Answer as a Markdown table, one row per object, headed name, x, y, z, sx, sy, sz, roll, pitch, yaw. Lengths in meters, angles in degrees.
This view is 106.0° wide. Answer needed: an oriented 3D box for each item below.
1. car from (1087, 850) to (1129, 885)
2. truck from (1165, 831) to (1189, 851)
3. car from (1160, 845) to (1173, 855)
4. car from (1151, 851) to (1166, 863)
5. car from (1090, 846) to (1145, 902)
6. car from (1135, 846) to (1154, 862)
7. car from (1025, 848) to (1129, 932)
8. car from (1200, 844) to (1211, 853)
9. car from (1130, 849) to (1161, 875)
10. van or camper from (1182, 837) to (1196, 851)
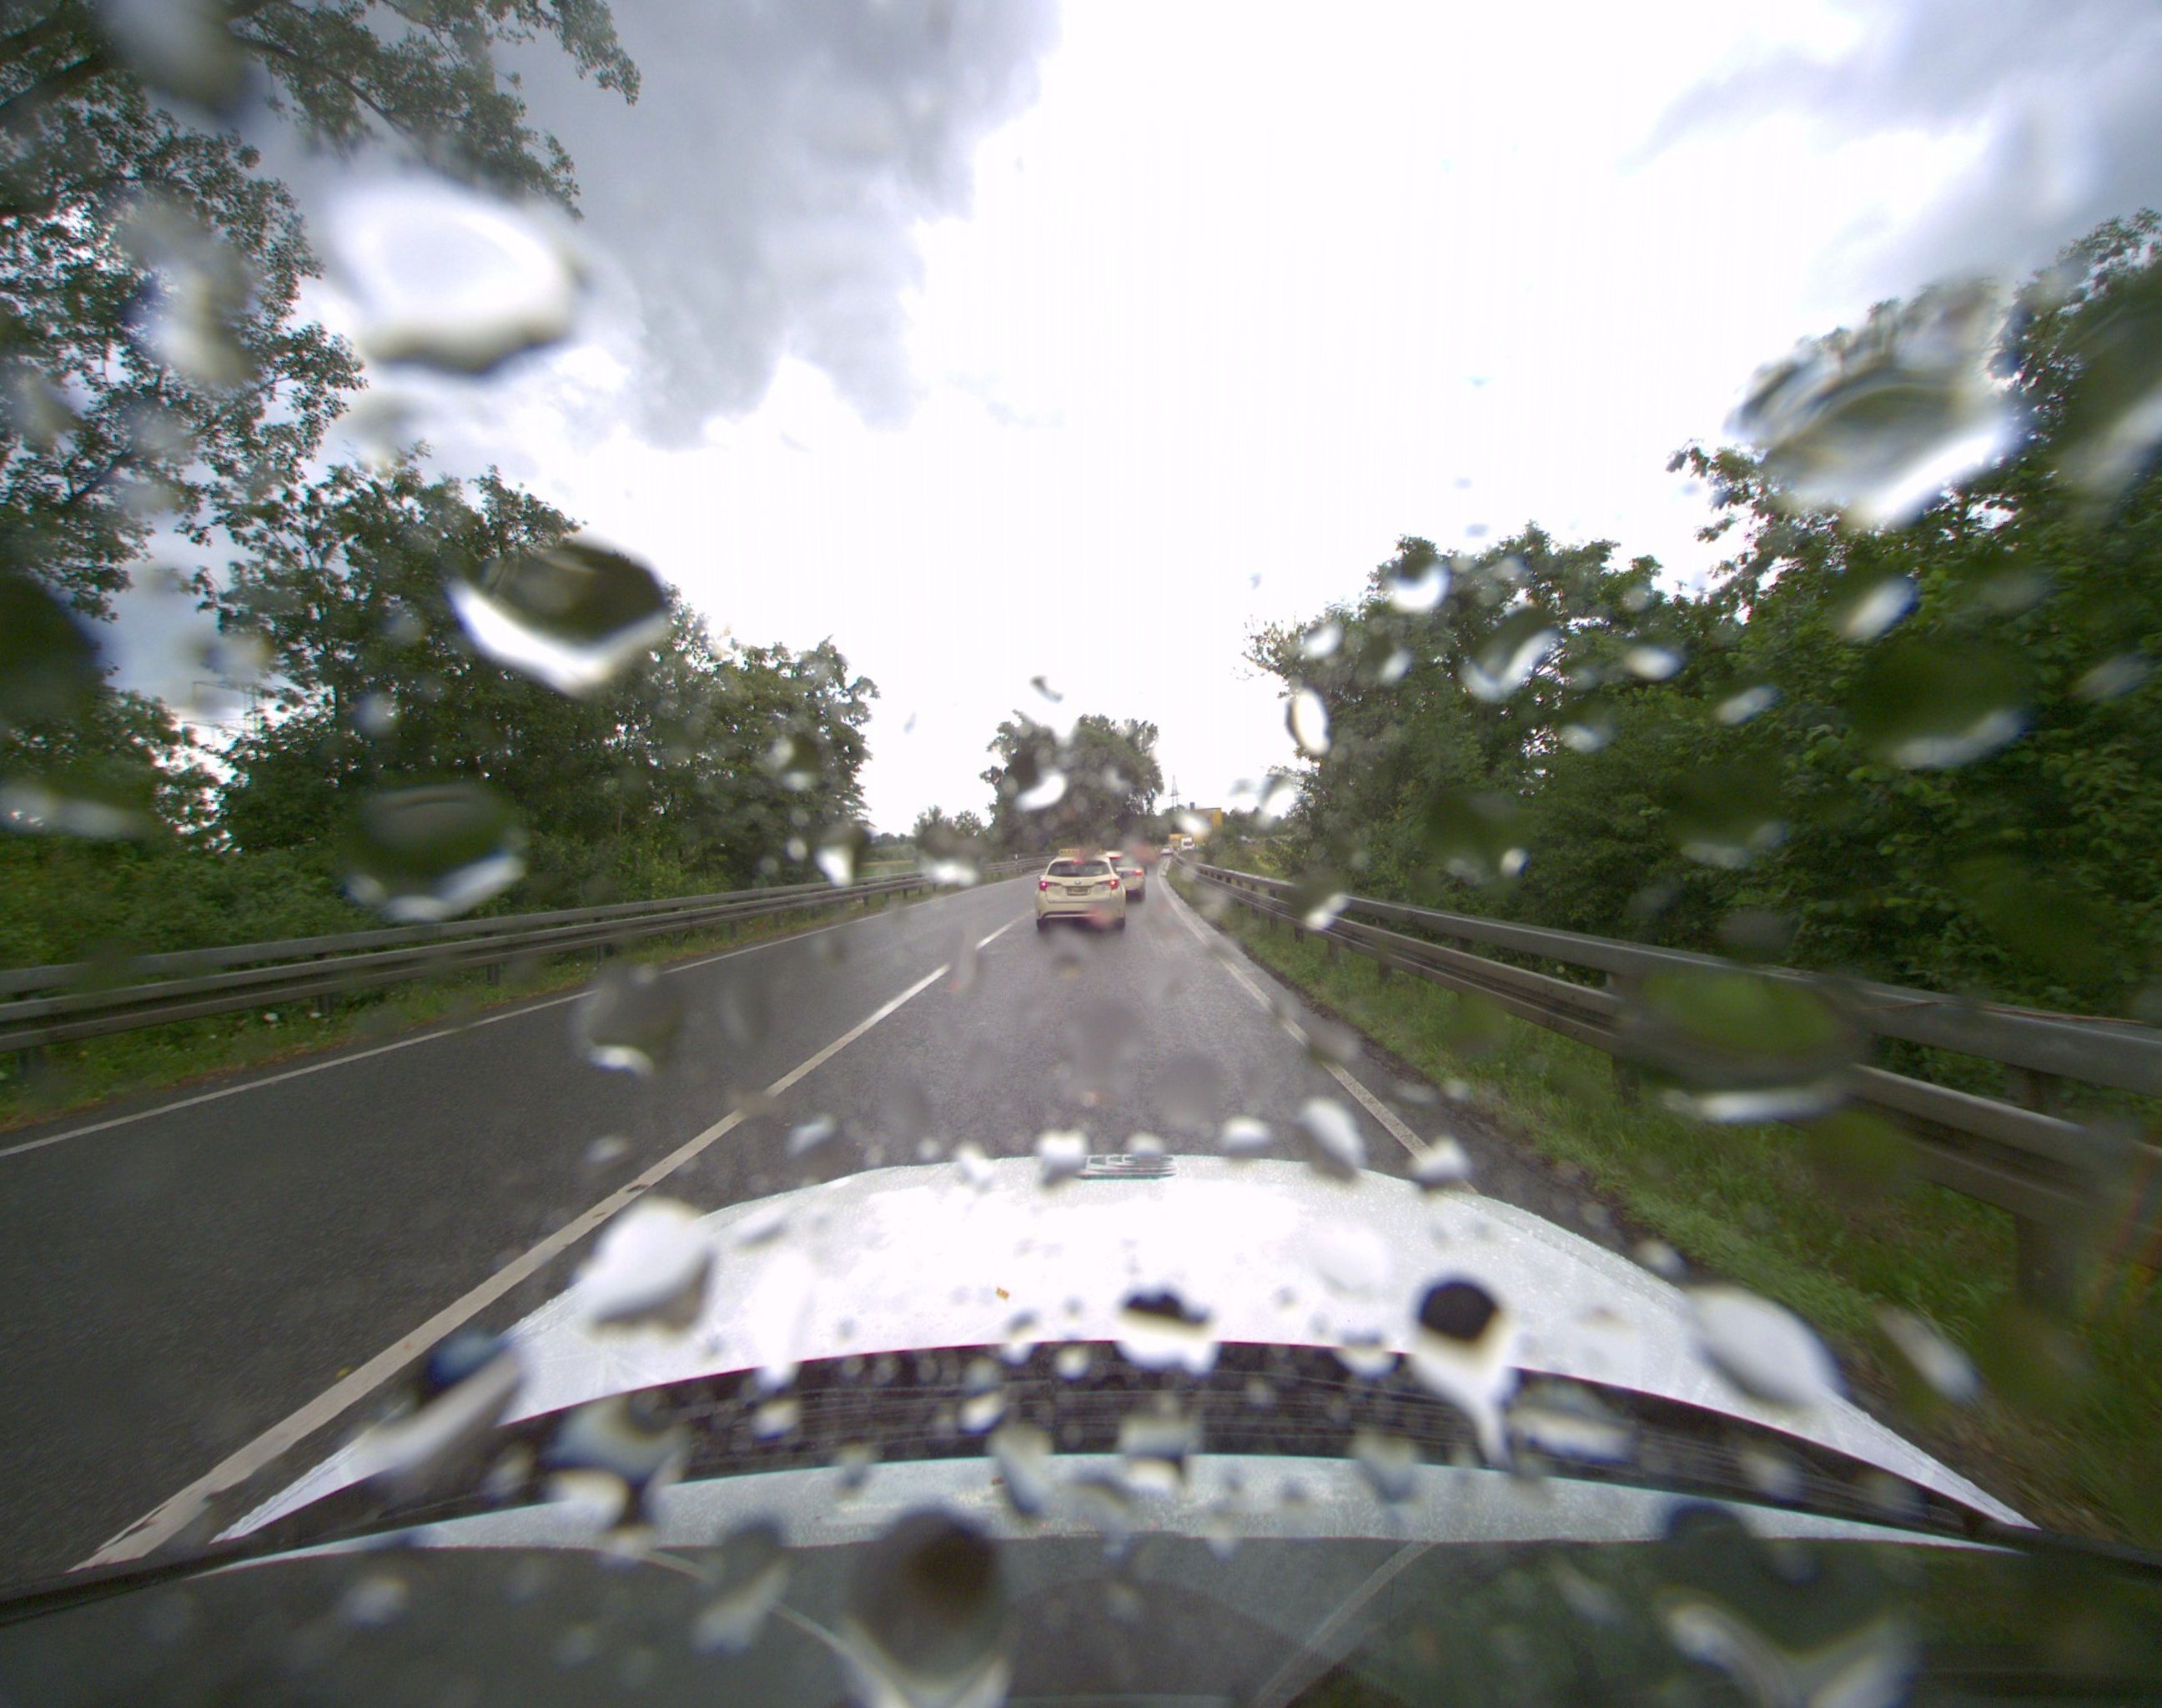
| name | x | y | z | sx | sy | sz | roll | pitch | yaw |
| --- | --- | --- | --- | --- | --- | --- | --- | --- | --- |
| car | 1.209 | 0.538 | 35.232 | 1.498 | 1.437 | 3.362 | -1 | 0 | 6 |
| truck | 18.040 | -2.500 | 152.372 | 2.749 | 3.428 | 9.229 | 1 | 2 | 17 |
| car | 11.389 | -0.511 | 108.054 | 1.473 | 1.309 | 3.487 | -1 | 0 | 10 |
| car | 8.644 | 0.359 | 90.933 | 1.474 | 1.309 | 3.486 | -1 | 0 | 9 |
| car | 1.200 | 0.568 | 25.370 | 1.571 | 1.572 | 3.686 | -1 | 0 | 4 |
| car | 5.679 | 0.032 | 72.742 | 1.652 | 1.409 | 3.909 | -1 | -1 | 5 |
| car | 0.033 | 0.663 | 17.178 | 1.898 | 1.537 | 4.165 | -1 | 0 | 3 |
| car | 24.025 | -1.063 | 157.125 | 1.634 | 1.585 | 3.699 | -1 | 0 | 17 |
| car | 3.772 | 0.430 | 48.198 | 1.659 | 1.464 | 3.479 | -1 | 0 | 2 |
| van or camper | 18.106 | -1.684 | 136.864 | 1.980 | 2.254 | 4.013 | -1 | 0 | 11 |
